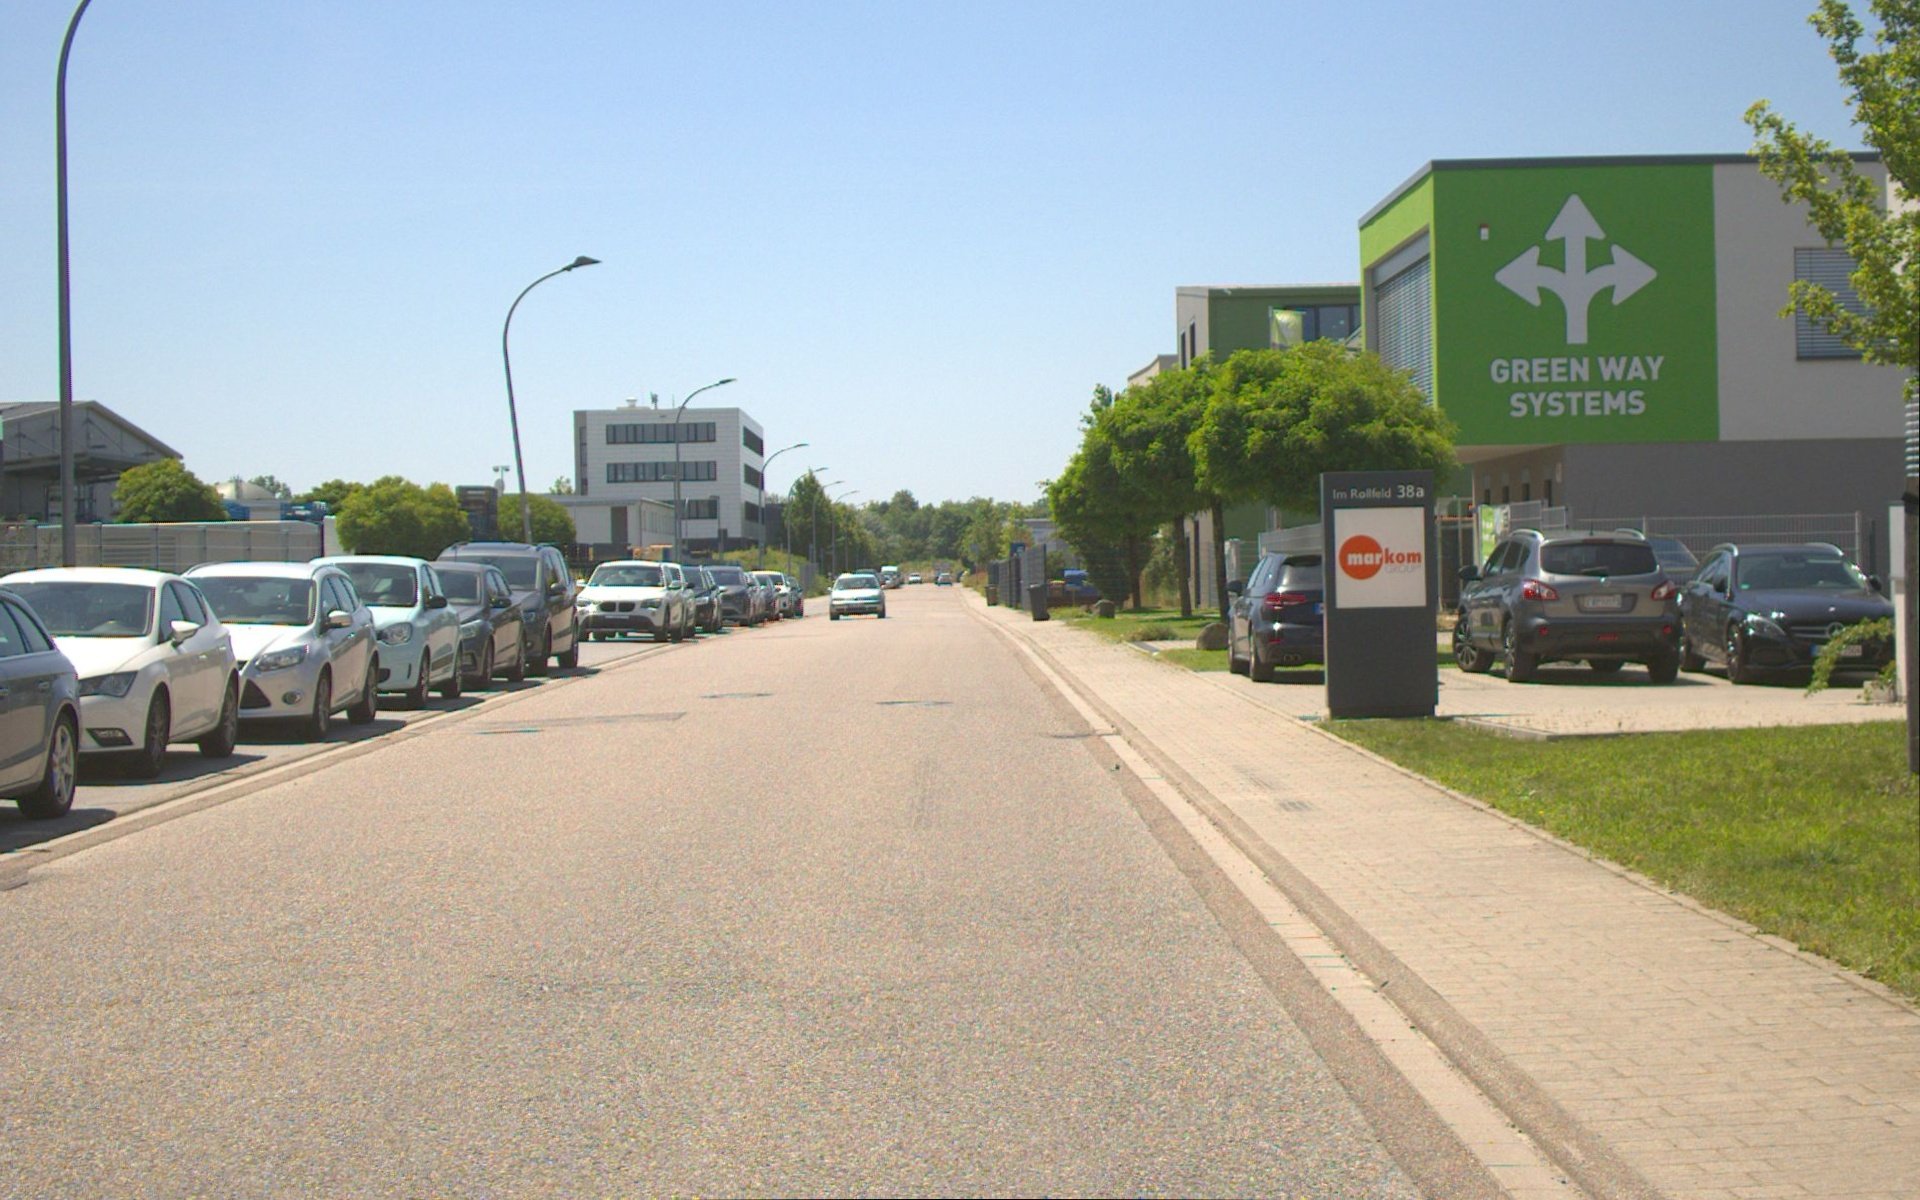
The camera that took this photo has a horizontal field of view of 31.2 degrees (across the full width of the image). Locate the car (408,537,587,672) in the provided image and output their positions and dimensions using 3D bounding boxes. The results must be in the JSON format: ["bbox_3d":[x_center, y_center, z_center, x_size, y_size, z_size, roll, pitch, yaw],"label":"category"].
[{"bbox_3d":[-6.161,0.021,46.227,1.802,1.714,4.622,0,1,0],"label":"car"}]

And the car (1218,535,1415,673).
[{"bbox_3d":[3.860,0.012,37.792,1.692,1.423,4.246,0,1,0],"label":"car"}]

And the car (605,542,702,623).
[{"bbox_3d":[-6.429,-0.374,72.397,1.787,1.651,3.769,0,1,-1],"label":"car"}]

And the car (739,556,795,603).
[{"bbox_3d":[-6.601,-0.707,117.987,1.769,1.587,4.360,0,0,-1],"label":"car"}]

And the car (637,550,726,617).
[{"bbox_3d":[-6.388,-0.389,79.225,1.763,1.512,4.380,0,1,-1],"label":"car"}]

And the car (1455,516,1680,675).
[{"bbox_3d":[6.565,-0.076,37.523,1.723,1.627,4.022,0,1,0],"label":"car"}]

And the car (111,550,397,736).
[{"bbox_3d":[-6.215,0.320,30.717,1.703,1.531,4.572,0,1,-1],"label":"car"}]

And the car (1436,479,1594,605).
[{"bbox_3d":[11.968,-1.235,74.640,2.129,2.485,7.026,-3,1,0],"label":"car"}]

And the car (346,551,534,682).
[{"bbox_3d":[-6.214,0.163,41.450,1.634,1.495,3.971,0,1,1],"label":"car"}]

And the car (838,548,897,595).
[{"bbox_3d":[-2.995,-0.935,110.719,1.704,1.406,4.785,-3,1,-3],"label":"car"}]

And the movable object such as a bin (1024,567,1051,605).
[{"bbox_3d":[1.973,-0.352,87.154,0.552,0.925,0.521,-5,0,10],"label":"movable object such as a bin"}]

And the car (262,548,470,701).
[{"bbox_3d":[-6.230,0.222,36.369,1.634,1.531,3.658,0,1,-1],"label":"car"}]

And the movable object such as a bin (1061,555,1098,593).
[{"bbox_3d":[4.659,-1.016,133.887,1.334,1.454,0.949,-2,0,-1],"label":"movable object such as a bin"}]

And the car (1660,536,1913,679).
[{"bbox_3d":[8.819,0.049,36.983,1.723,1.444,4.022,0,1,0],"label":"car"}]

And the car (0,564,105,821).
[{"bbox_3d":[-6.138,0.536,18.883,1.684,1.381,4.639,-1,1,0],"label":"car"}]

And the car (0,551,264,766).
[{"bbox_3d":[-6.390,0.362,25.351,1.703,1.439,4.440,0,1,-1],"label":"car"}]

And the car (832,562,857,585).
[{"bbox_3d":[-7.497,-1.738,223.551,1.466,1.484,3.207,-1,1,0],"label":"car"}]

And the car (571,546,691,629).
[{"bbox_3d":[-6.323,-0.263,66.403,1.787,1.537,4.364,0,1,1],"label":"car"}]

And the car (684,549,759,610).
[{"bbox_3d":[-6.400,-0.546,92.588,1.790,1.601,4.463,0,0,-1],"label":"car"}]
